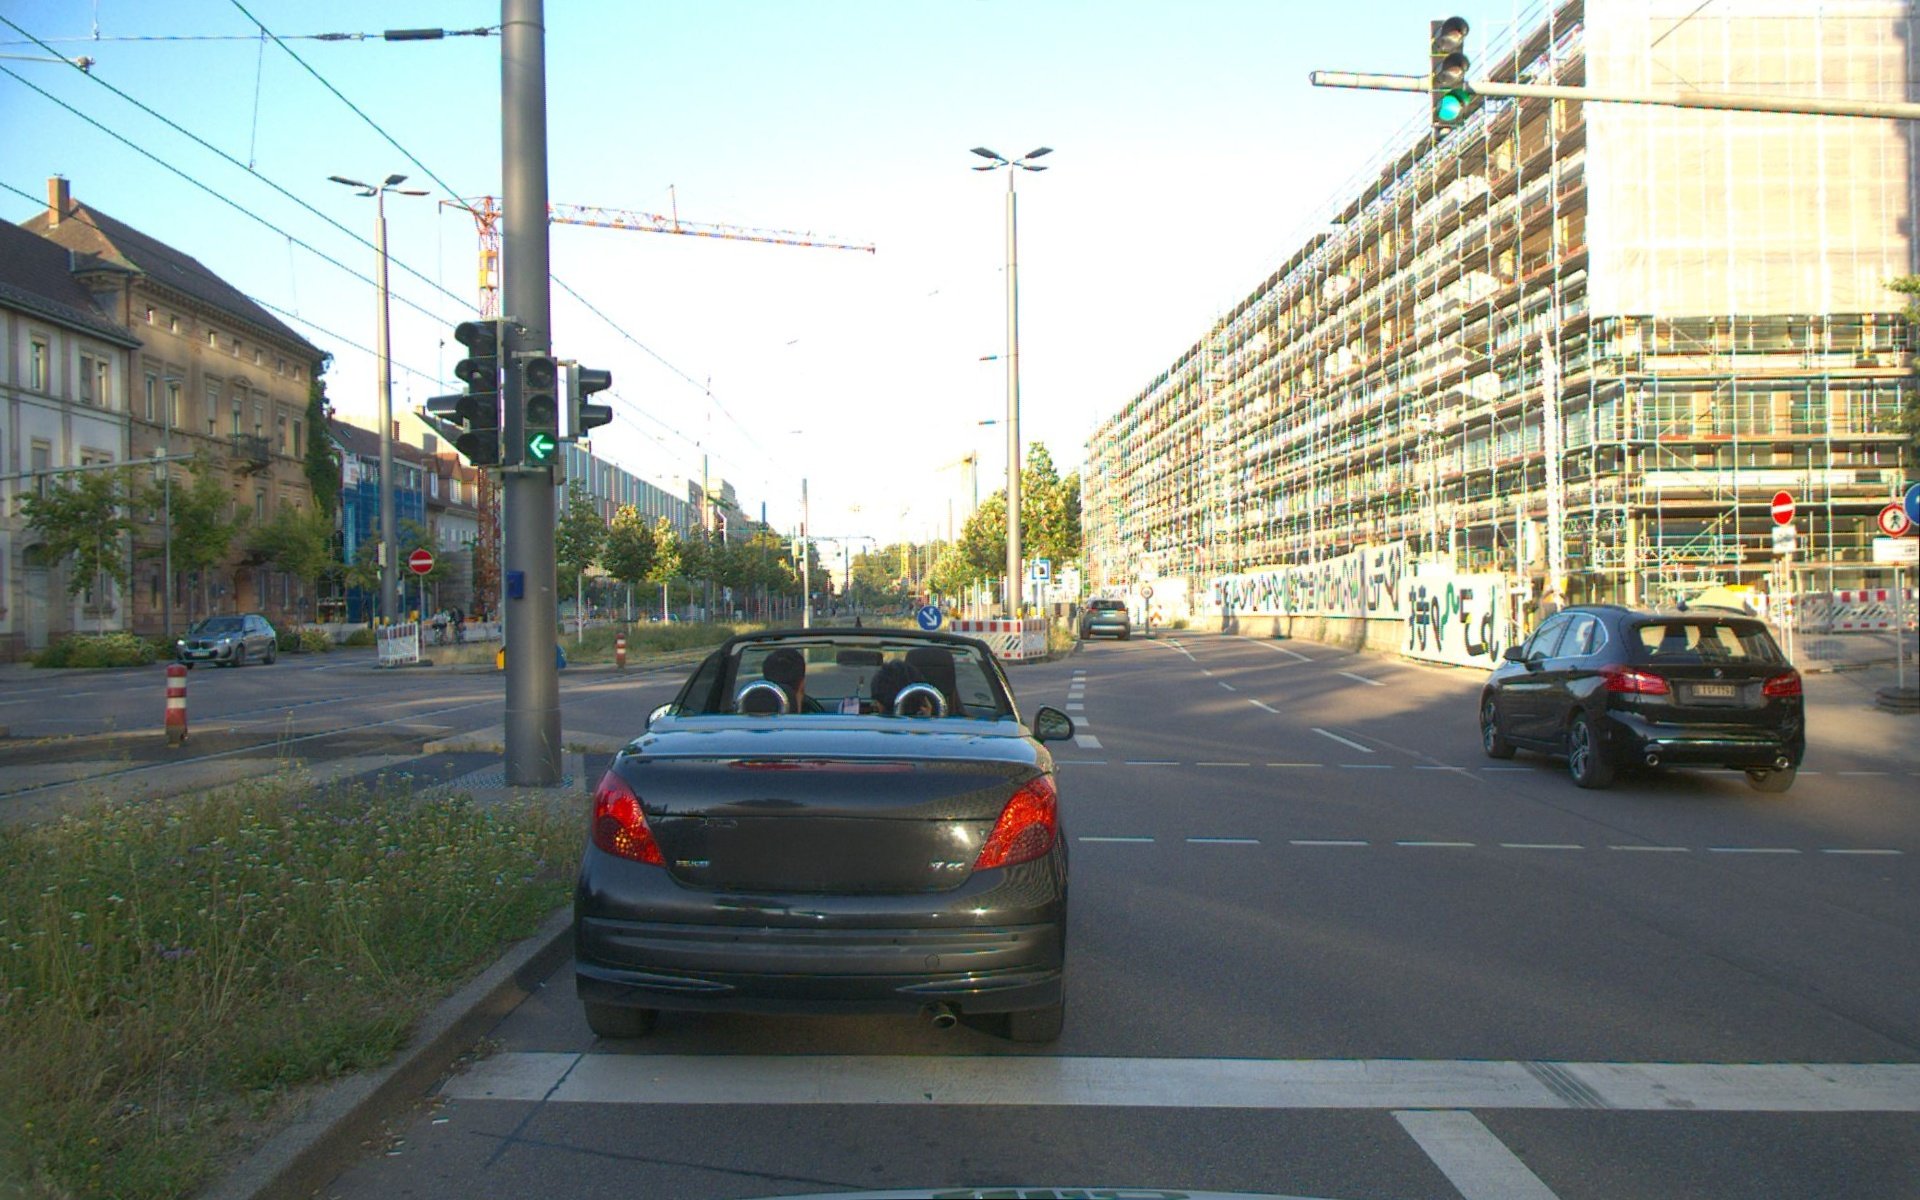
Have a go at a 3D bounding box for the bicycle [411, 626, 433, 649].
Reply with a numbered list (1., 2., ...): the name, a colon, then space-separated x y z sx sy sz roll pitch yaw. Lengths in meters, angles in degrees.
1. bicycle: -24.914 1.719 76.583 0.578 1.006 1.555 1 0 -3

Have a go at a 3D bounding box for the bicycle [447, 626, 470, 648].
1. bicycle: -23.788 1.738 78.468 0.578 0.992 1.556 1 0 -1

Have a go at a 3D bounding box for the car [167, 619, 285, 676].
1. car: -23.362 1.481 52.827 1.953 1.608 4.123 -2 0 -2

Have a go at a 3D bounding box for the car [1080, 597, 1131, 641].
1. car: 5.799 0.744 66.371 1.796 1.702 4.283 0 0 1

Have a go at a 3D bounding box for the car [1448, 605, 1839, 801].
1. car: 6.196 0.834 15.675 1.783 1.545 4.792 0 0 1

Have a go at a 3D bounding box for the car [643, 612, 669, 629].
1. car: -27.353 1.870 149.079 1.624 1.456 3.894 1 0 -1

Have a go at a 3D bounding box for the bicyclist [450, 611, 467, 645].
1. bicyclist: -23.779 1.315 78.470 0.578 1.597 0.710 1 0 -1

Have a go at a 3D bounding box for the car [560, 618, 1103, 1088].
1. car: -0.405 0.791 7.021 1.640 1.376 3.999 0 0 -1

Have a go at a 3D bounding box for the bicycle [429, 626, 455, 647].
1. bicycle: -24.740 1.743 78.972 0.756 0.961 1.639 1 0 -1

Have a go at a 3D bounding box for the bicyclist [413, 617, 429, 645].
1. bicyclist: -24.901 1.437 76.424 0.578 1.289 0.459 1 0 -3

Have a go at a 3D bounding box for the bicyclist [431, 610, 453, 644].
1. bicyclist: -24.729 1.294 78.976 0.756 1.598 0.792 1 0 -1

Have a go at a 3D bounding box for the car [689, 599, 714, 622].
1. car: -23.271 0.922 148.928 1.624 1.998 4.265 1 0 -1
